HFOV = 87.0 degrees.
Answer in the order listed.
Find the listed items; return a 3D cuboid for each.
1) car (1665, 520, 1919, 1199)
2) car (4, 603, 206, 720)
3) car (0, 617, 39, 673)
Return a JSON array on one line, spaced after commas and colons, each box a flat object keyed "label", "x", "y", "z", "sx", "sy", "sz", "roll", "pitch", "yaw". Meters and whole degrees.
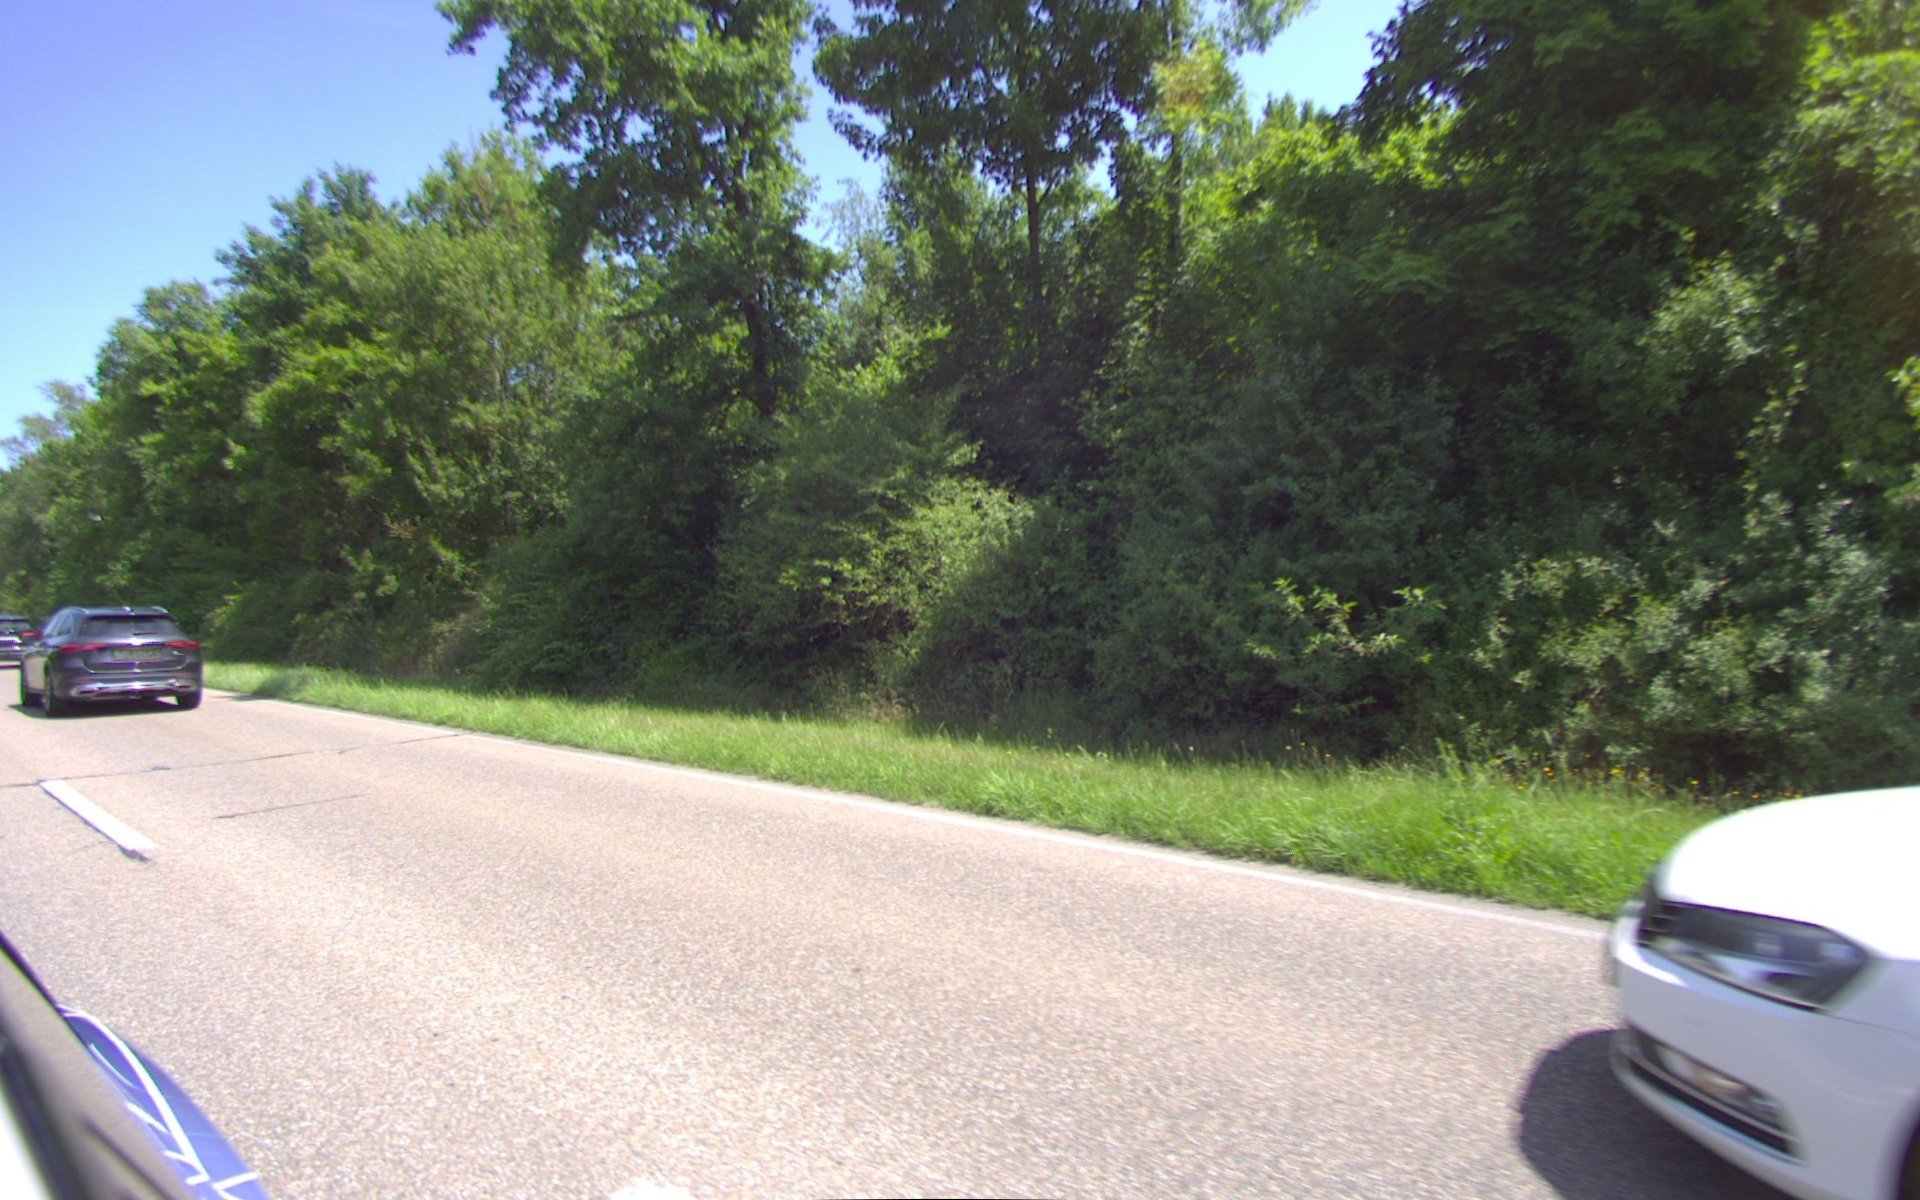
[{"label": "car", "x": 3.804, "y": 0.586, "z": 1.244, "sx": 4.655, "sy": 1.548, "sz": 1.820, "roll": -2, "pitch": -1, "yaw": 41}, {"label": "car", "x": -13.882, "y": 0.910, "z": 16.353, "sx": 4.198, "sy": 1.637, "sz": 1.846, "roll": -2, "pitch": -1, "yaw": 41}, {"label": "car", "x": -29.643, "y": 1.335, "z": 30.955, "sx": 4.439, "sy": 1.617, "sz": 1.734, "roll": -1, "pitch": -1, "yaw": 41}]
